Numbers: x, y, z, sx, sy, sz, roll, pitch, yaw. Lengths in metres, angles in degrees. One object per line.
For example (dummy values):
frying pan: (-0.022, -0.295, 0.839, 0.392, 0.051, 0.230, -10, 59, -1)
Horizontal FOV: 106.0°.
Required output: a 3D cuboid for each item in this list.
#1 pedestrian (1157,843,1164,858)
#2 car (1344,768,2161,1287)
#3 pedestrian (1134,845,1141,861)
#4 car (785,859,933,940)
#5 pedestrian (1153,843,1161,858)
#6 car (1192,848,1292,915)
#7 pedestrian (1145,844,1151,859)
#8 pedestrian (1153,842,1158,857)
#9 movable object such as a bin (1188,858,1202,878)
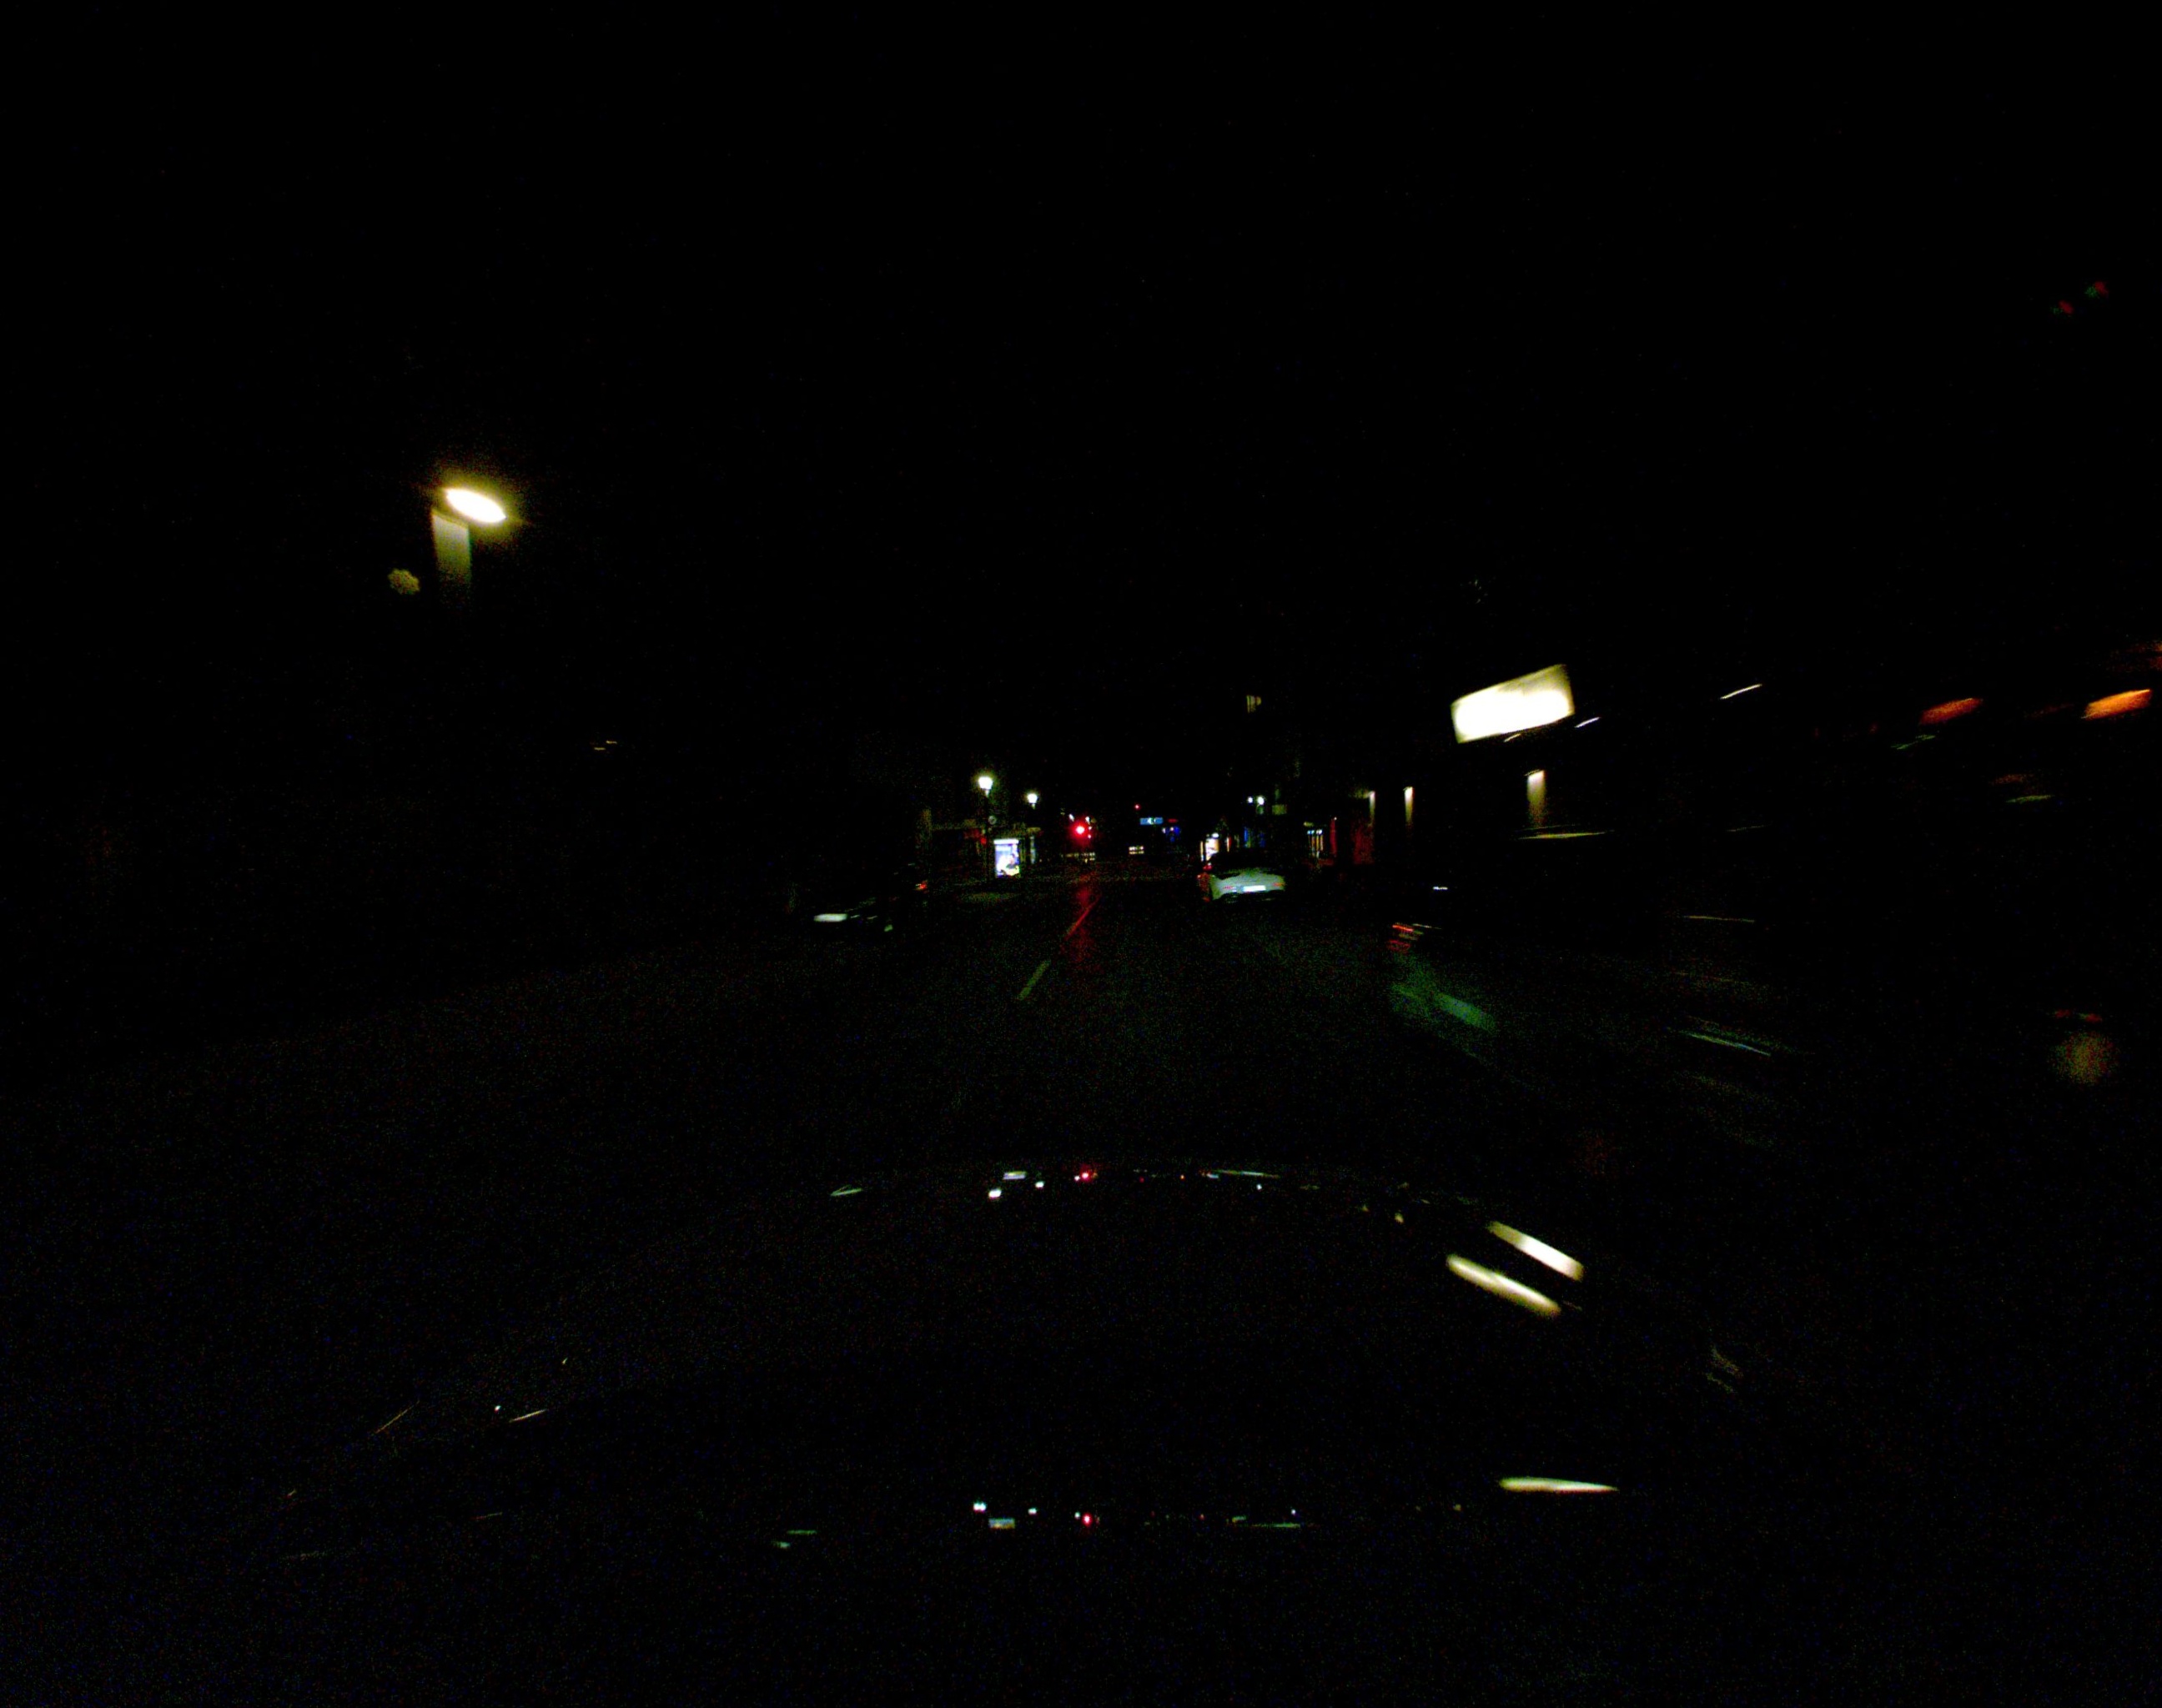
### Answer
pedestrian: (9.387, -0.392, 96.502, 0.730, 1.795, 0.720, -1, -1, 10)
car: (3.136, 0.569, 4.892, 1.780, 1.641, 4.382, -4, 0, 2)
pedestrian: (6.630, -0.138, 96.102, 0.711, 1.795, 0.571, -1, -1, 13)
car: (-4.492, 0.853, 17.146, 1.684, 1.436, 4.133, 0, 0, 4)
pedestrian: (9.038, -0.420, 97.080, 0.570, 1.795, 0.712, 0, -2, -26)
car: (4.018, 0.629, 21.054, 1.850, 1.442, 4.598, -3, 0, 3)
pedestrian: (8.011, -0.279, 97.372, 0.566, 1.795, 0.718, -1, -1, 0)
pedestrian: (9.079, -0.559, 99.397, 0.565, 1.795, 0.719, -1, -1, 4)
movable object such as a bin: (5.398, 0.658, 38.548, 0.523, 0.937, 0.628, -1, -1, -5)
